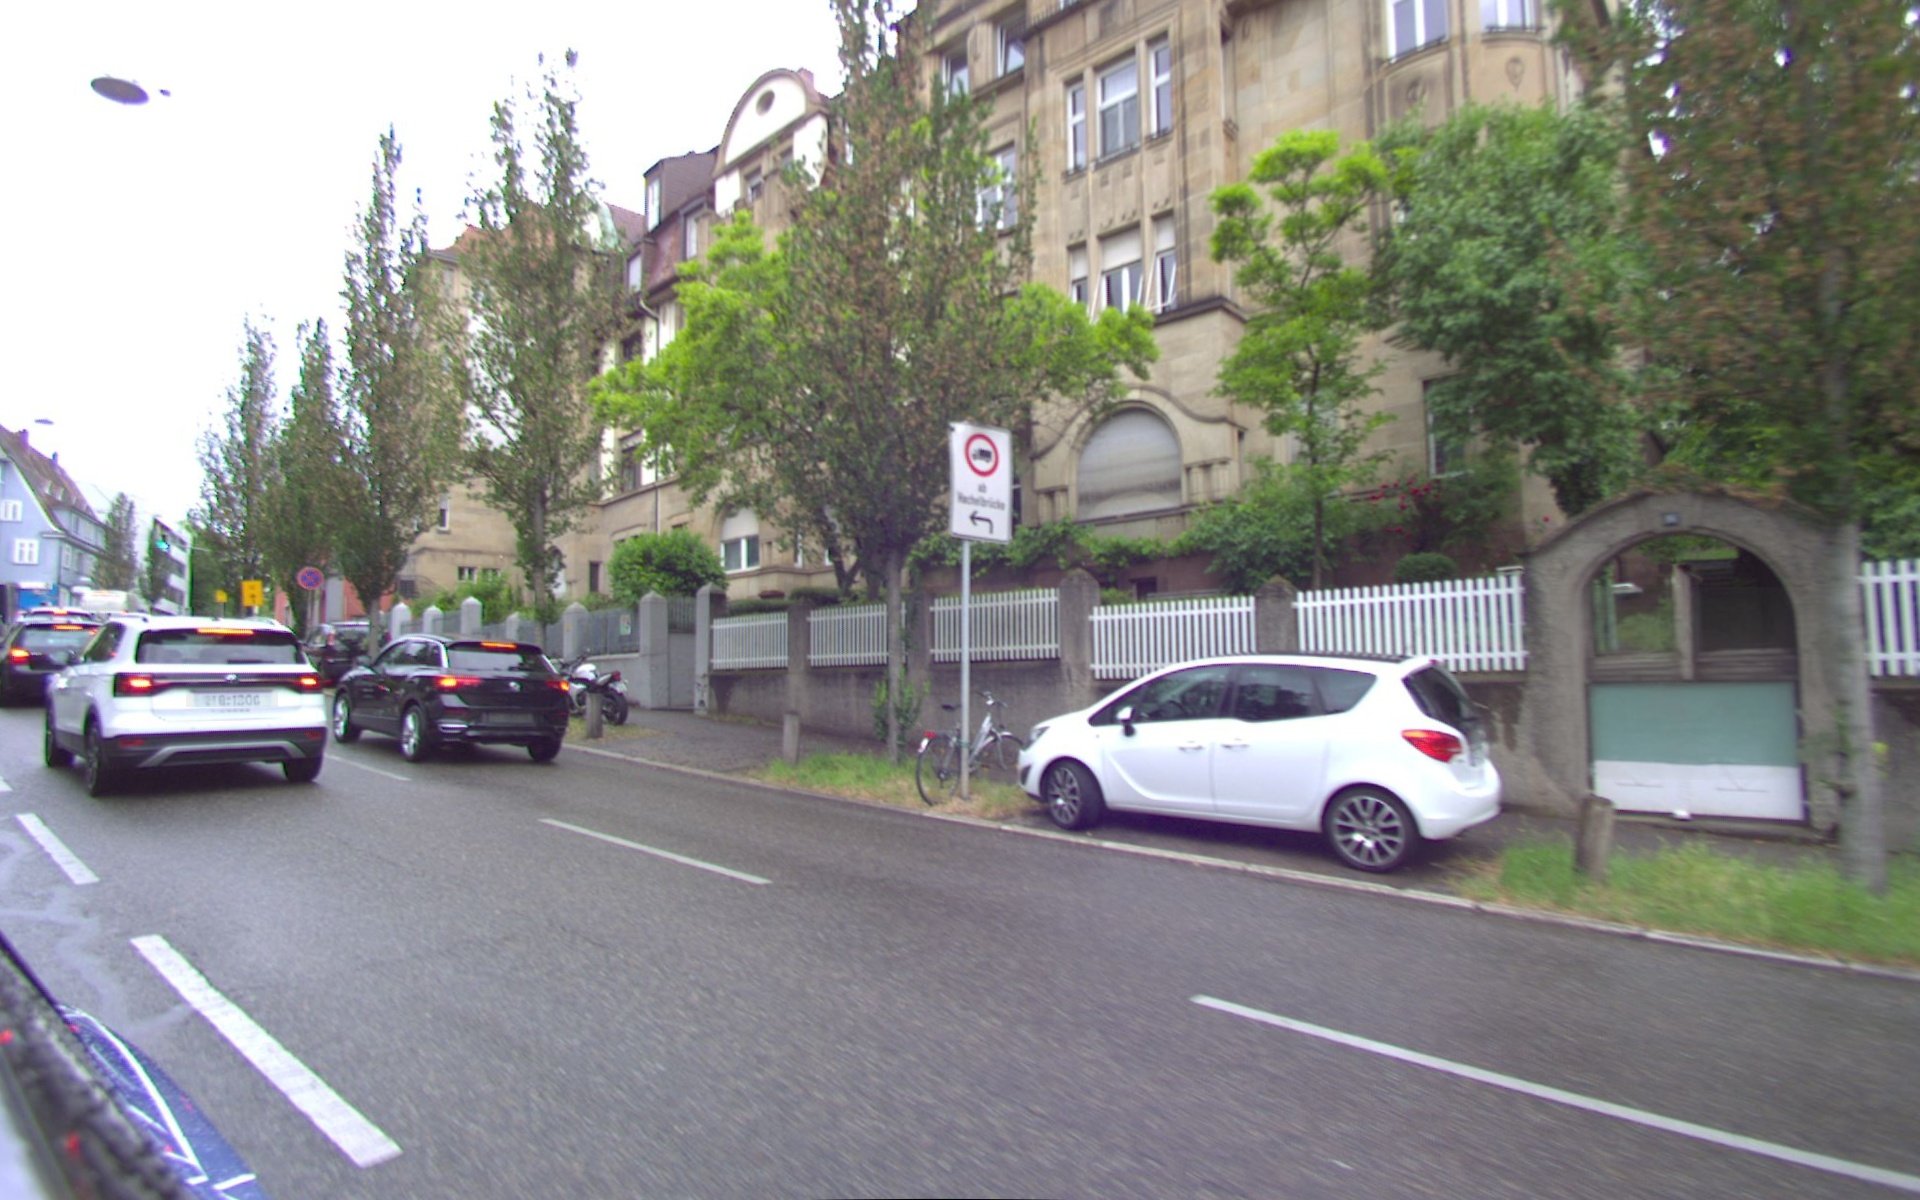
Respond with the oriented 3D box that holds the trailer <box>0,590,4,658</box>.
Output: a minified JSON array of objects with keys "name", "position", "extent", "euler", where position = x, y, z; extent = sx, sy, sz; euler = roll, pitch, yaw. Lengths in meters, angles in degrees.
[{"name":"trailer","position":[-44.098,1.092,45.127],"extent":[1.938,3.065,2.368],"euler":[2,-3,-41]}]

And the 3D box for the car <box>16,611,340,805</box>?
[{"name":"car","position":[-7.862,0.973,10.039],"extent":[4.098,1.529,1.753],"euler":[-2,-5,42]}]

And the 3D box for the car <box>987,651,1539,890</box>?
[{"name":"car","position":[2.469,1.254,8.862],"extent":[4.296,1.571,1.725],"euler":[-2,-3,38]}]

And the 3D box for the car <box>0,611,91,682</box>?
[{"name":"car","position":[-24.792,1.247,27.340],"extent":[1.633,1.721,4.117],"euler":[7,-6,-43]}]

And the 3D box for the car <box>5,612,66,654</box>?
[{"name":"car","position":[-40.980,1.497,44.940],"extent":[1.597,1.675,4.121],"euler":[6,-7,-38]}]

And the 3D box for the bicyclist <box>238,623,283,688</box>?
[{"name":"bicyclist","position":[-17.220,1.370,24.917],"extent":[0.991,1.569,0.648],"euler":[-3,-5,43]}]

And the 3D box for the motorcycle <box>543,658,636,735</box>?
[{"name":"motorcycle","position":[-6.376,1.627,17.367],"extent":[1.982,1.245,0.648],"euler":[-3,-5,44]}]

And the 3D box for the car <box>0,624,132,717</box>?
[{"name":"car","position":[-15.690,1.166,17.482],"extent":[1.742,1.442,3.887],"euler":[4,-4,-44]}]

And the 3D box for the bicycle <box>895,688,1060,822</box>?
[{"name":"bicycle","position":[0.231,1.553,10.612],"extent":[0.657,1.245,1.955],"euler":[-2,-5,39]}]

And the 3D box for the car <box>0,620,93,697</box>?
[{"name":"car","position":[-20.148,1.270,21.945],"extent":[1.691,1.491,4.117],"euler":[7,-7,-43]}]

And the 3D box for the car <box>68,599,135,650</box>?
[{"name":"car","position":[-47.796,1.433,56.448],"extent":[2.101,2.525,5.422],"euler":[6,-6,-34]}]

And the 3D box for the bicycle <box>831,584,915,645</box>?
[{"name":"bicycle","position":[-1.895,0.344,22.389],"extent":[0.657,1.245,1.955],"euler":[-2,-5,39]}]

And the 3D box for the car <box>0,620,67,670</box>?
[{"name":"car","position":[-31.870,1.561,34.687],"extent":[1.599,1.535,4.117],"euler":[7,-7,-43]}]

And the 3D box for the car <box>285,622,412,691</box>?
[{"name":"car","position":[-15.967,1.429,26.367],"extent":[1.973,1.608,3.829],"euler":[0,-1,-45]}]

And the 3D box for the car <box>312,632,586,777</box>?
[{"name":"car","position":[-6.639,1.265,12.998],"extent":[3.867,1.529,1.725],"euler":[-1,-6,41]}]

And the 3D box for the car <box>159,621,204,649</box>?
[{"name":"car","position":[-65.614,2.988,85.381],"extent":[2.100,2.042,5.425],"euler":[5,-6,-29]}]
